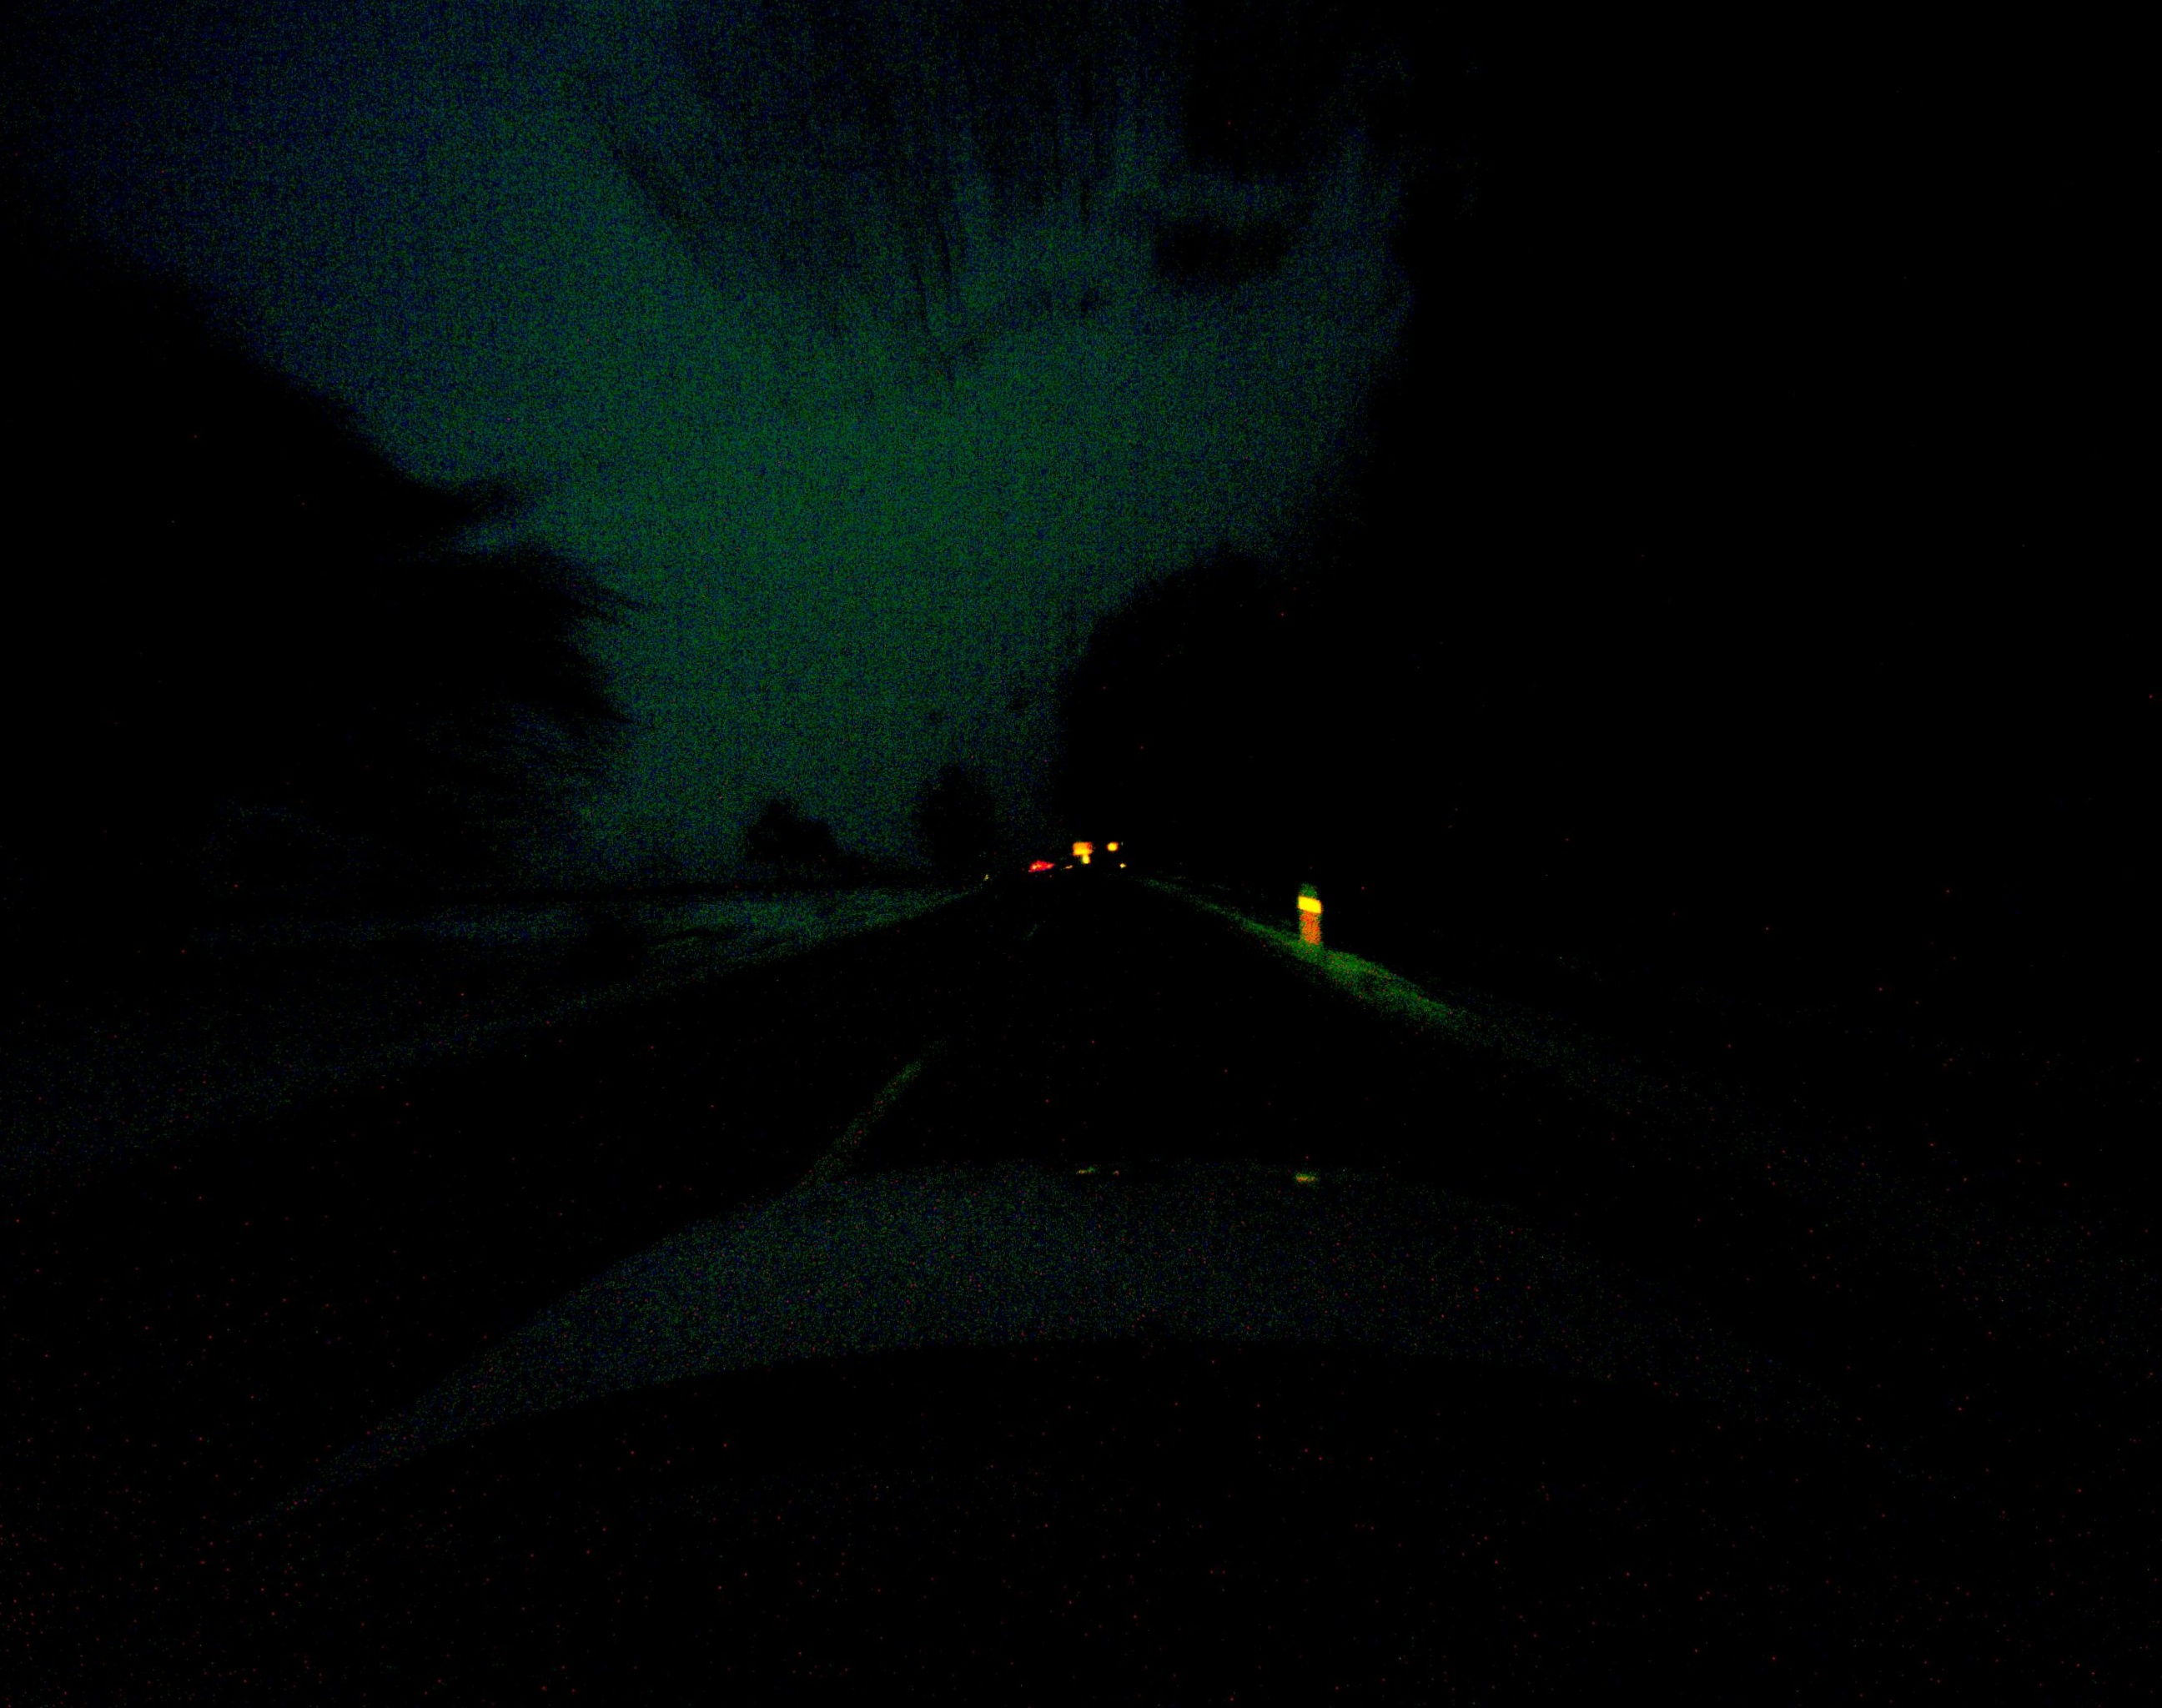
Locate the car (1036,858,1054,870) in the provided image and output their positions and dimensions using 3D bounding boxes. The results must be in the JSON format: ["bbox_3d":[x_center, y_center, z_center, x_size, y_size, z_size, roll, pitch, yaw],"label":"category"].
[{"bbox_3d":[-4.559,1.251,103.795,1.914,1.277,4.002,-3,0,2],"label":"car"}]
